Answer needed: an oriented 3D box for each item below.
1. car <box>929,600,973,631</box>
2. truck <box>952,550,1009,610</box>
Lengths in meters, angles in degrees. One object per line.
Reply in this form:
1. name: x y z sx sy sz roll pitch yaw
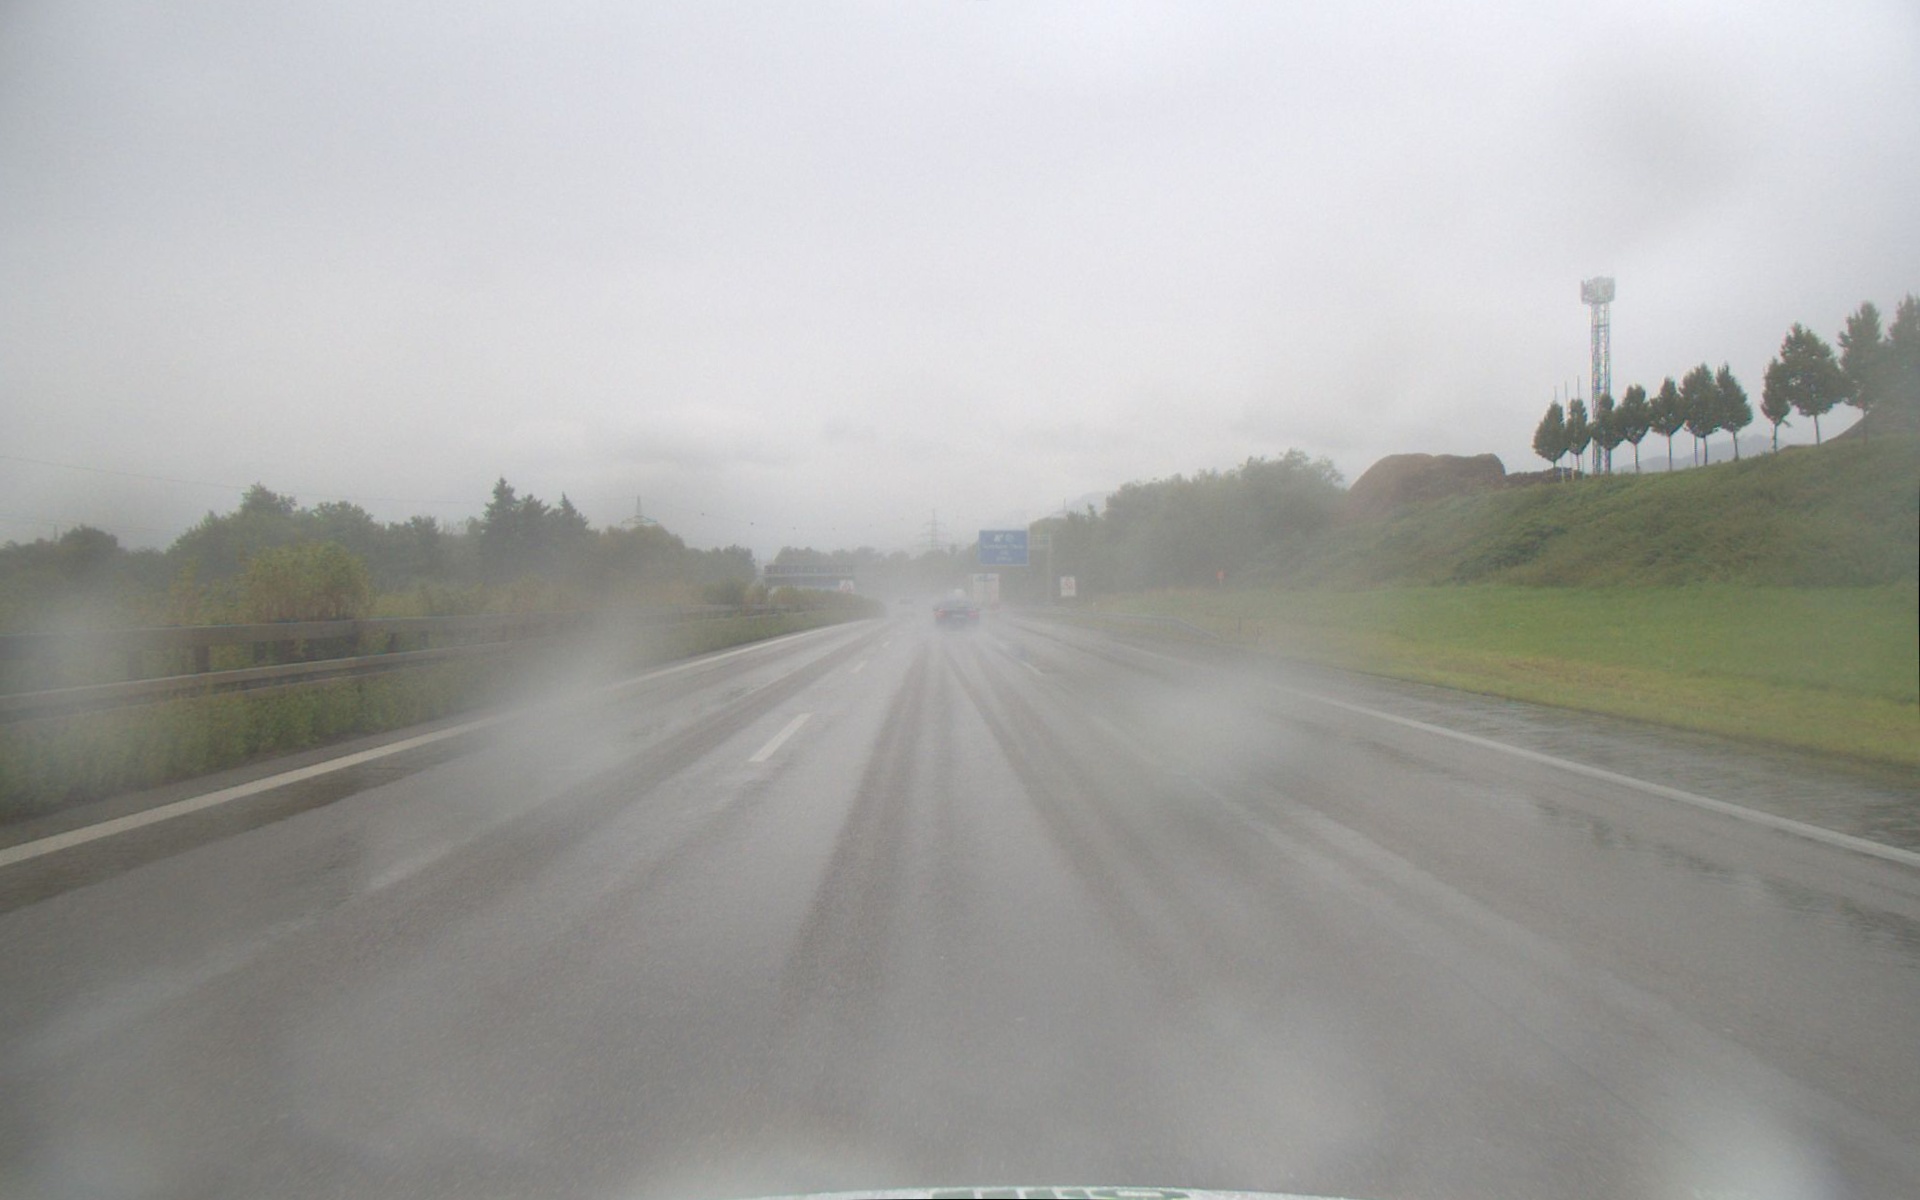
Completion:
1. car: -0.385 0.614 67.129 1.713 1.233 3.999 0 0 -2
2. truck: 1.783 -1.812 153.650 4.172 5.058 17.332 -3 0 -2
